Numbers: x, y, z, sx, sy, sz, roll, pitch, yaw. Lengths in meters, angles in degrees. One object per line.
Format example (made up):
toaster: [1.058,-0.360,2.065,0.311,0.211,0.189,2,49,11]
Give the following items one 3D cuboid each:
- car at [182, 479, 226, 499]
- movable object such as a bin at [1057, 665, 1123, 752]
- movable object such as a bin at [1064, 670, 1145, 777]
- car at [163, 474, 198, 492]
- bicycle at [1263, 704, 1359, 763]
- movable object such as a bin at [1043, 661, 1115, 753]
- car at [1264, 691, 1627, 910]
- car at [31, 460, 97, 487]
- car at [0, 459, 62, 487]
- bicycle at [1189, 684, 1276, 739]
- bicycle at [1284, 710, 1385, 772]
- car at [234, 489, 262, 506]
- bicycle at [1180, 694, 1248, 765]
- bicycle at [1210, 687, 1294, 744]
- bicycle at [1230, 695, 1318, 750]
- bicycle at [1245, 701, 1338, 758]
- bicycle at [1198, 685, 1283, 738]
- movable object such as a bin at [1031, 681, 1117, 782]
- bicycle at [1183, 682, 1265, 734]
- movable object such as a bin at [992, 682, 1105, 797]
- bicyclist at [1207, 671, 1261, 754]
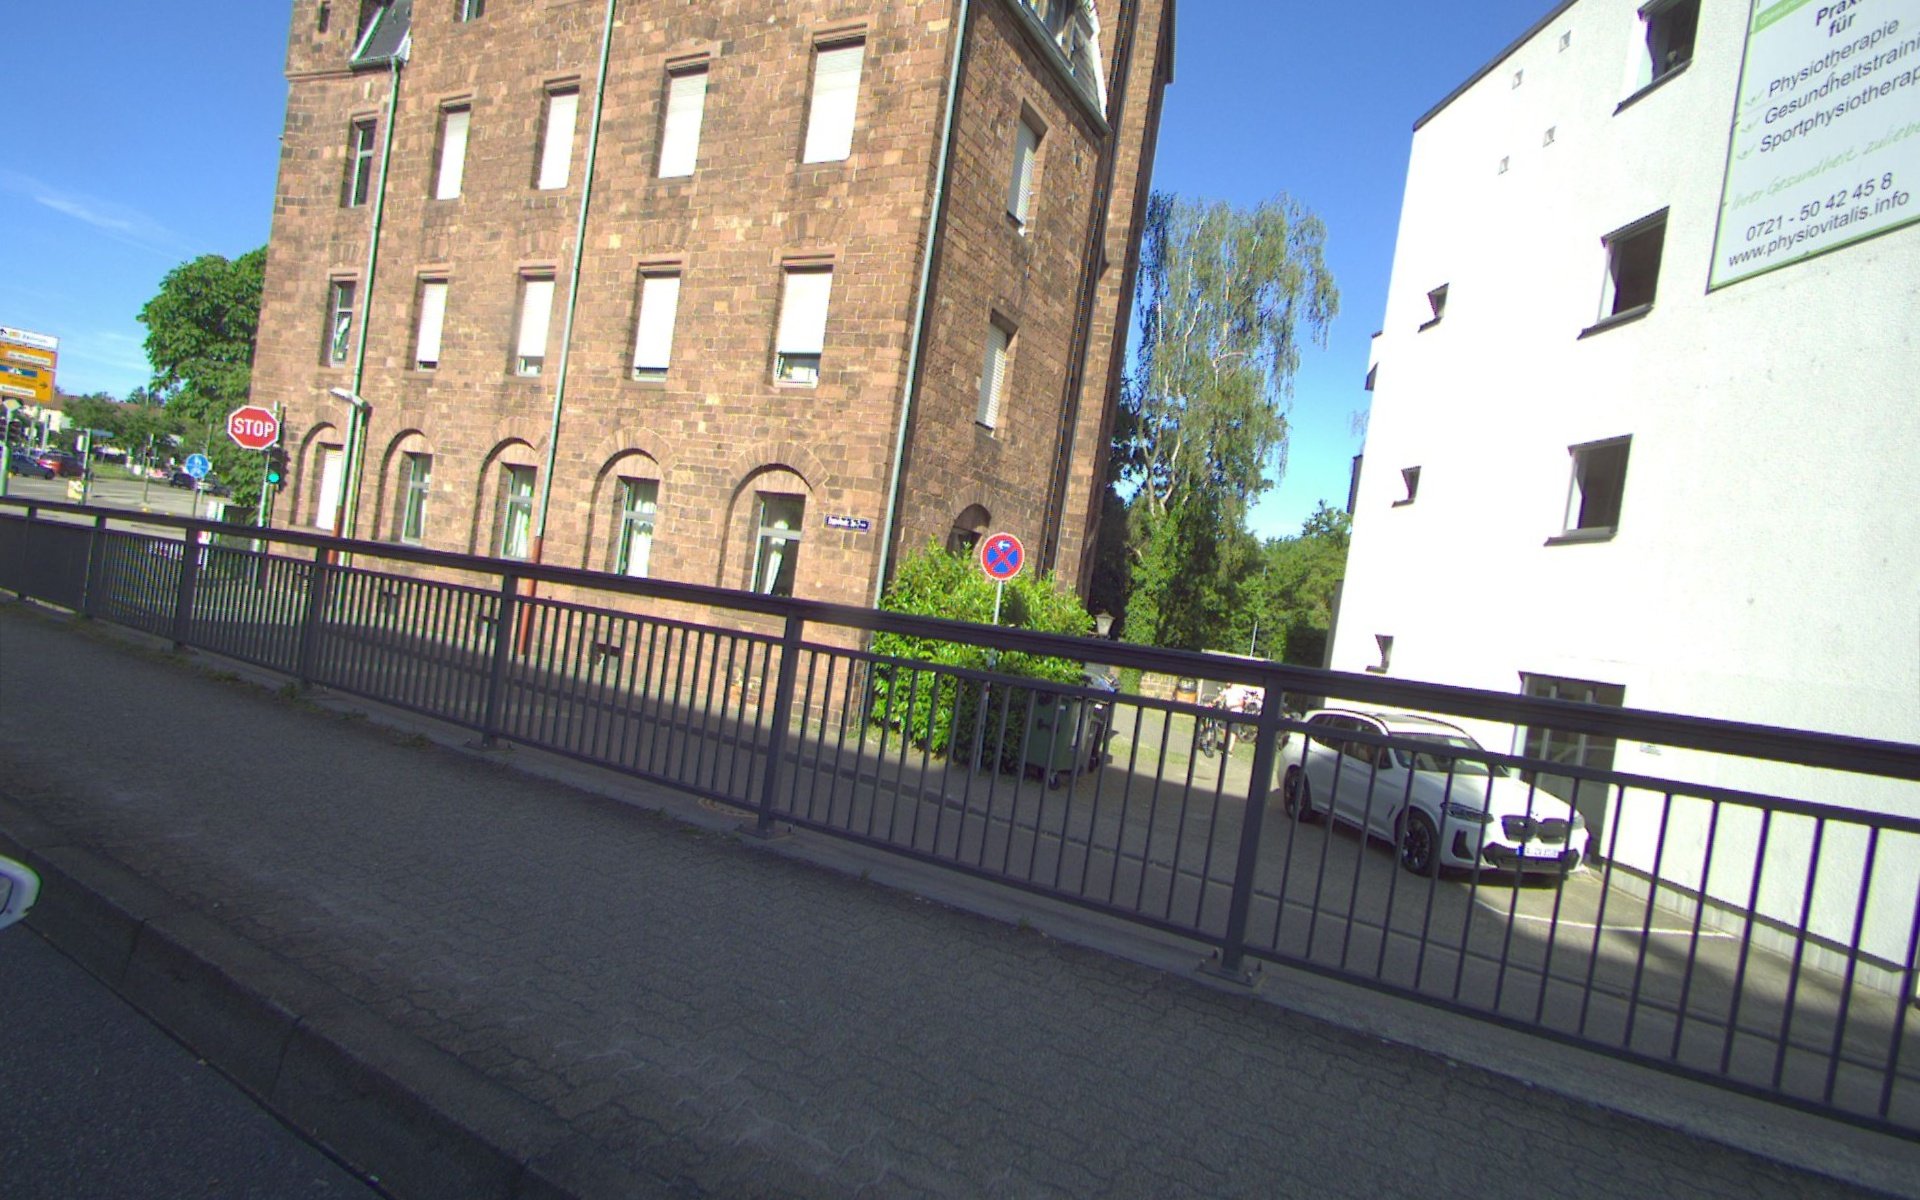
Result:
car: [-69.217,-10.137,92.187,1.974,1.459,4.793,8,2,-23]
movable object such as a bin: [2.653,2.183,20.458,1.009,1.539,1.007,9,0,14]
movable object such as a bin: [2.408,2.016,16.663,1.009,1.539,1.007,9,0,14]
car: [-75.711,-11.315,97.804,1.766,1.375,4.049,8,2,-26]
bicycle: [8.136,3.094,23.365,1.889,1.065,0.664,8,1,-6]
movable object such as a bin: [2.292,2.017,19.269,1.009,1.539,1.007,9,0,14]
car: [5.973,2.404,13.161,1.814,1.707,4.521,8,0,-9]
car: [-67.789,-9.547,76.169,1.972,1.474,4.530,8,1,-18]
car: [-61.454,-8.367,65.500,1.965,1.311,4.587,9,1,-5]
bicycle: [7.413,3.027,27.381,2.075,1.174,0.664,8,1,-9]
bicycle: [8.341,3.138,22.450,1.889,1.065,0.664,8,1,-6]
car: [-77.278,-11.187,109.234,1.980,1.459,4.256,8,2,-32]
bicycle: [5.392,2.739,21.477,0.678,1.155,1.836,8,1,-6]
bicycle: [7.674,3.025,26.447,1.889,1.174,0.664,8,1,-6]
bicycle: [7.876,3.082,25.280,1.889,1.065,0.664,8,1,-6]
bicycle: [7.981,3.114,24.253,1.889,1.065,0.664,8,1,-6]
bicycle: [7.914,3.135,28.413,2.075,1.174,0.664,8,1,-9]
movable object such as a bin: [1.767,1.999,15.481,1.009,1.307,1.007,10,0,14]
bicycle: [7.671,3.136,29.266,2.075,1.174,0.664,8,1,-9]
movable object such as a bin: [1.199,1.851,13.519,1.011,1.307,1.005,10,0,29]
bicyclist: [5.882,2.406,21.606,0.676,1.627,0.696,9,0,-7]
